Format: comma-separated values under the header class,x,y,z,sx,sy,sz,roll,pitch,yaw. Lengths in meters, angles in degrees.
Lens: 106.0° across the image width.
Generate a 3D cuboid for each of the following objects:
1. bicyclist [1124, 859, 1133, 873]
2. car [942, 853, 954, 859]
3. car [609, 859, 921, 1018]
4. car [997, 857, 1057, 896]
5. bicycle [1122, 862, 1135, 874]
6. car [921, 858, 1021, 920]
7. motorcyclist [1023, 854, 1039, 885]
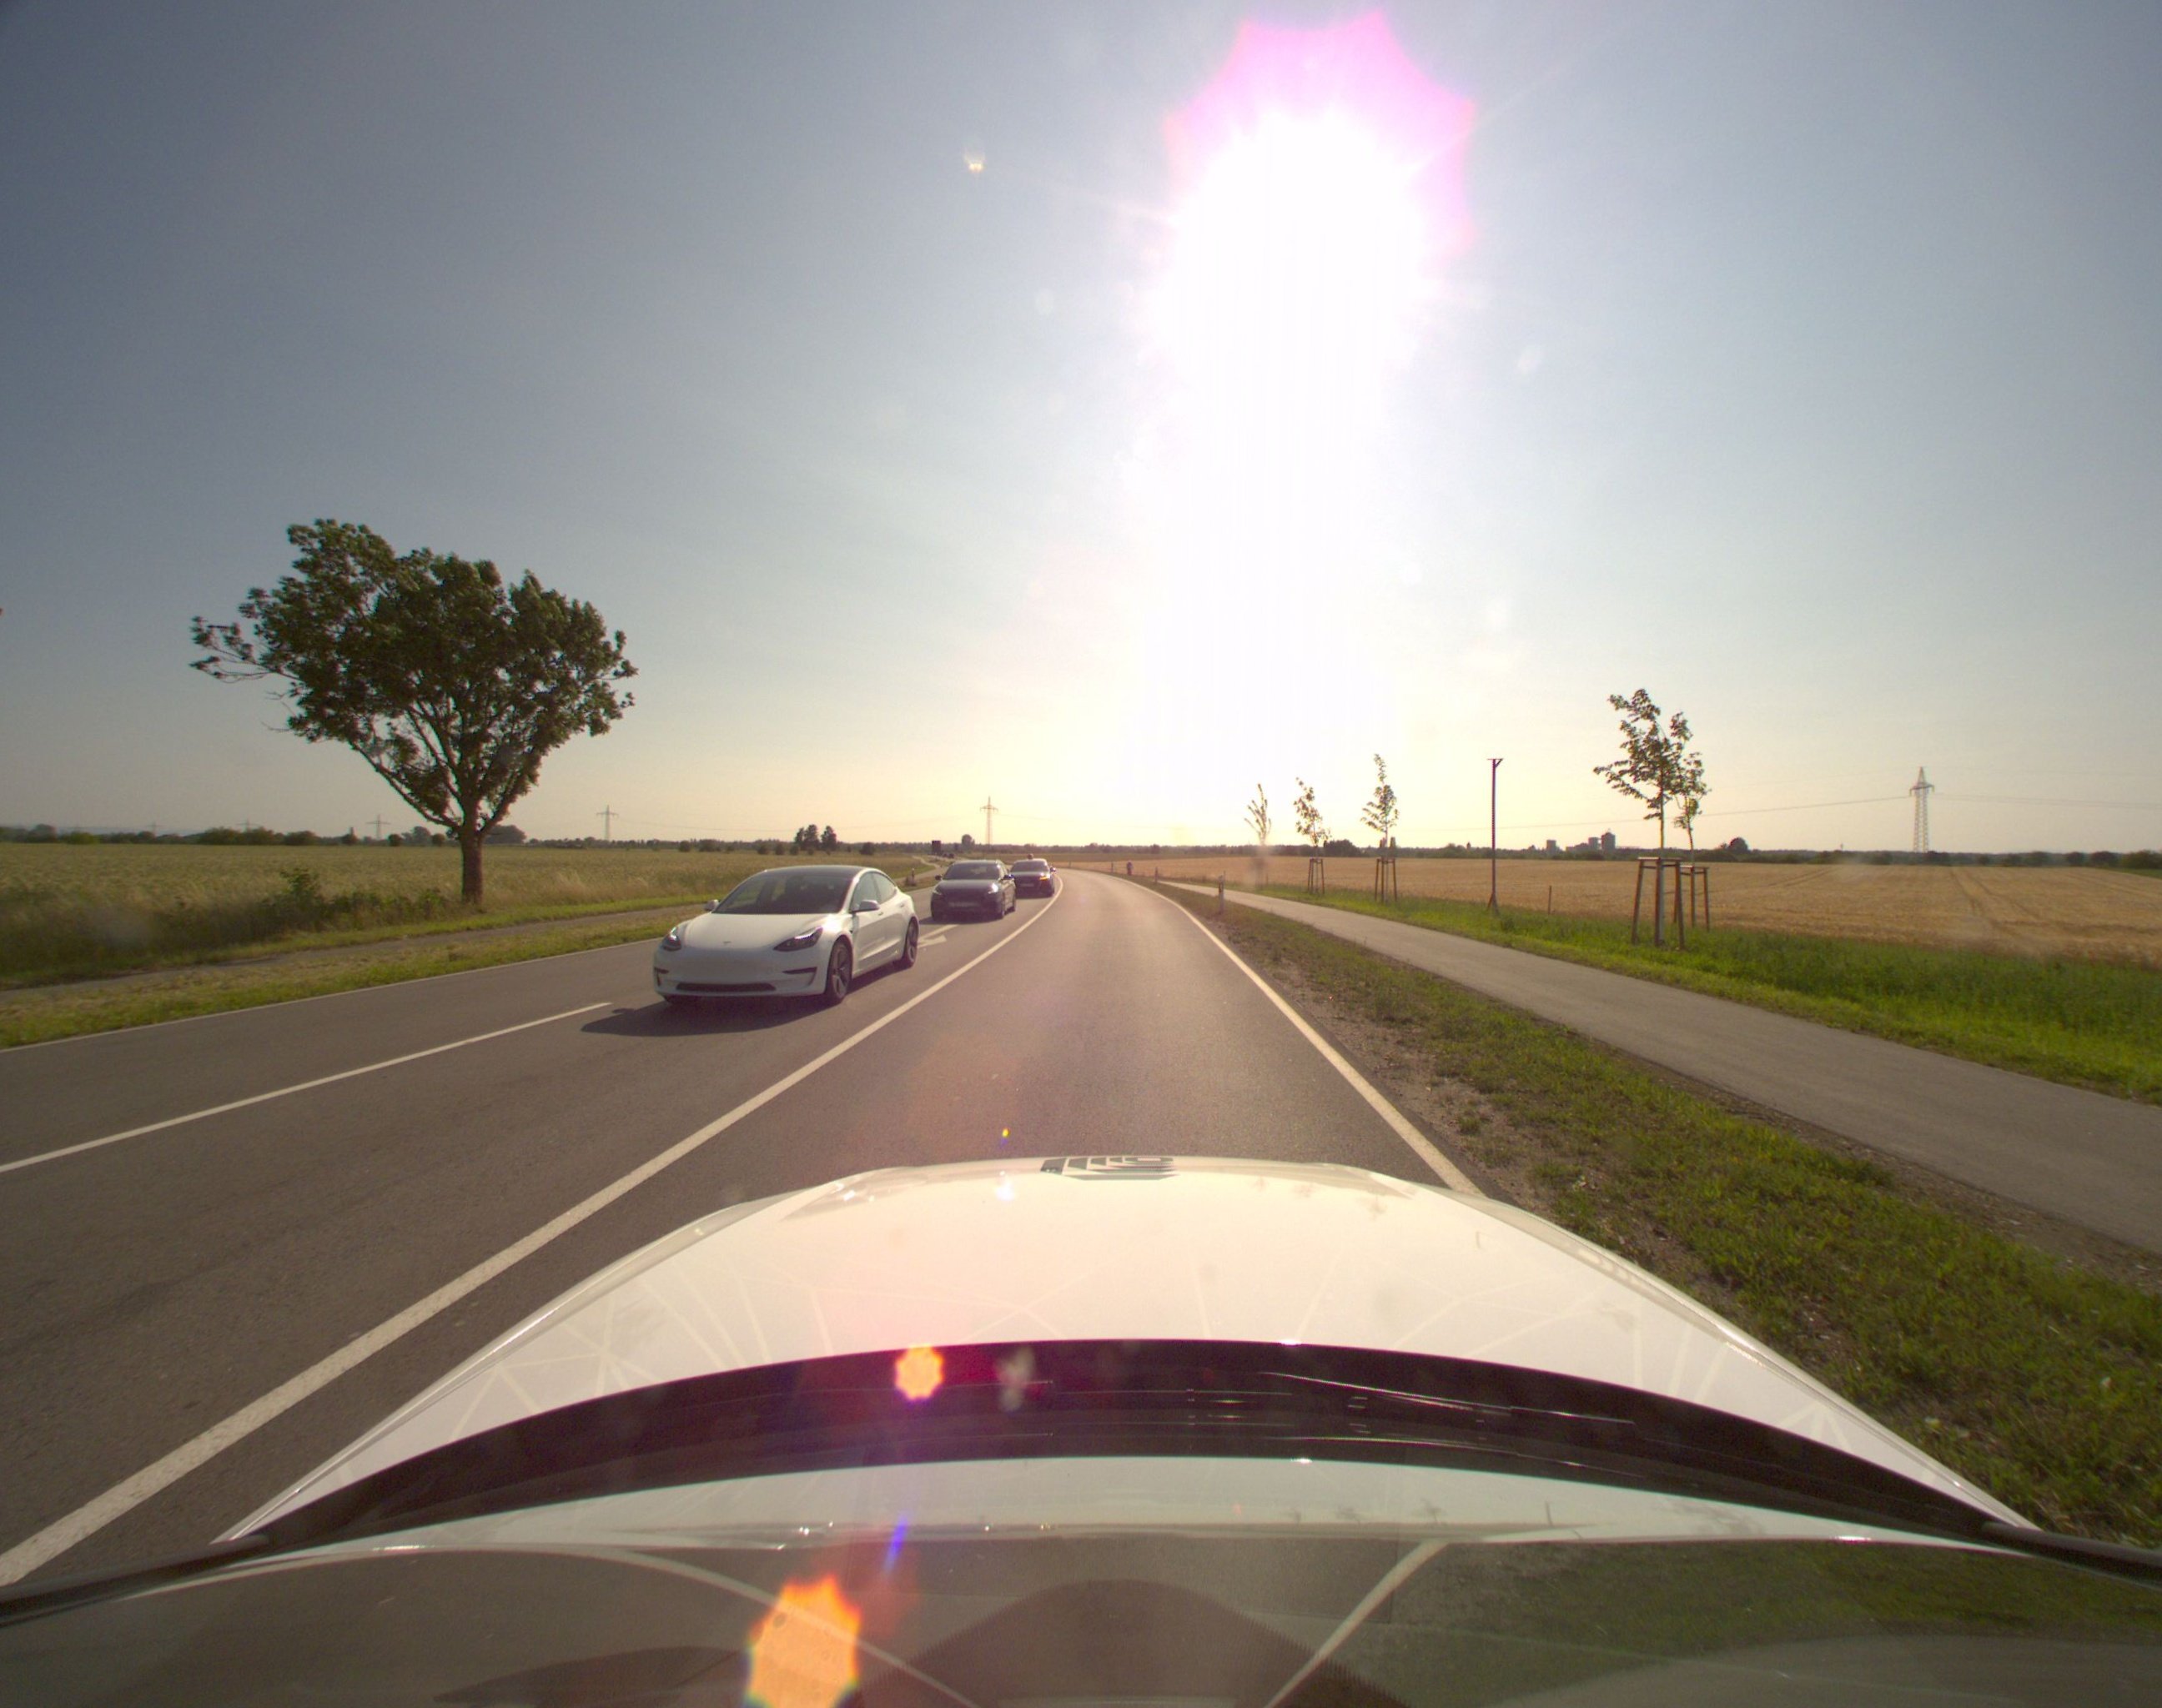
class,x,y,z,sx,sy,sz,roll,pitch,yaw
bicyclist,4.916,1.266,84.282,0.637,1.457,0.814,2,-1,-10
car,-41.871,0.585,255.822,1.854,1.833,4.418,4,0,-38
car,-3.393,0.806,9.779,1.882,1.466,4.278,-1,0,3
car,-2.103,0.867,32.909,1.882,1.436,4.799,0,0,2
bicycle,4.944,1.429,84.364,0.845,1.142,2.198,2,-1,-10
car,-2.767,0.844,21.412,1.883,1.461,4.308,0,0,2
motorcyclist,-2.391,0.726,39.102,0.675,1.495,0.847,0,0,1
